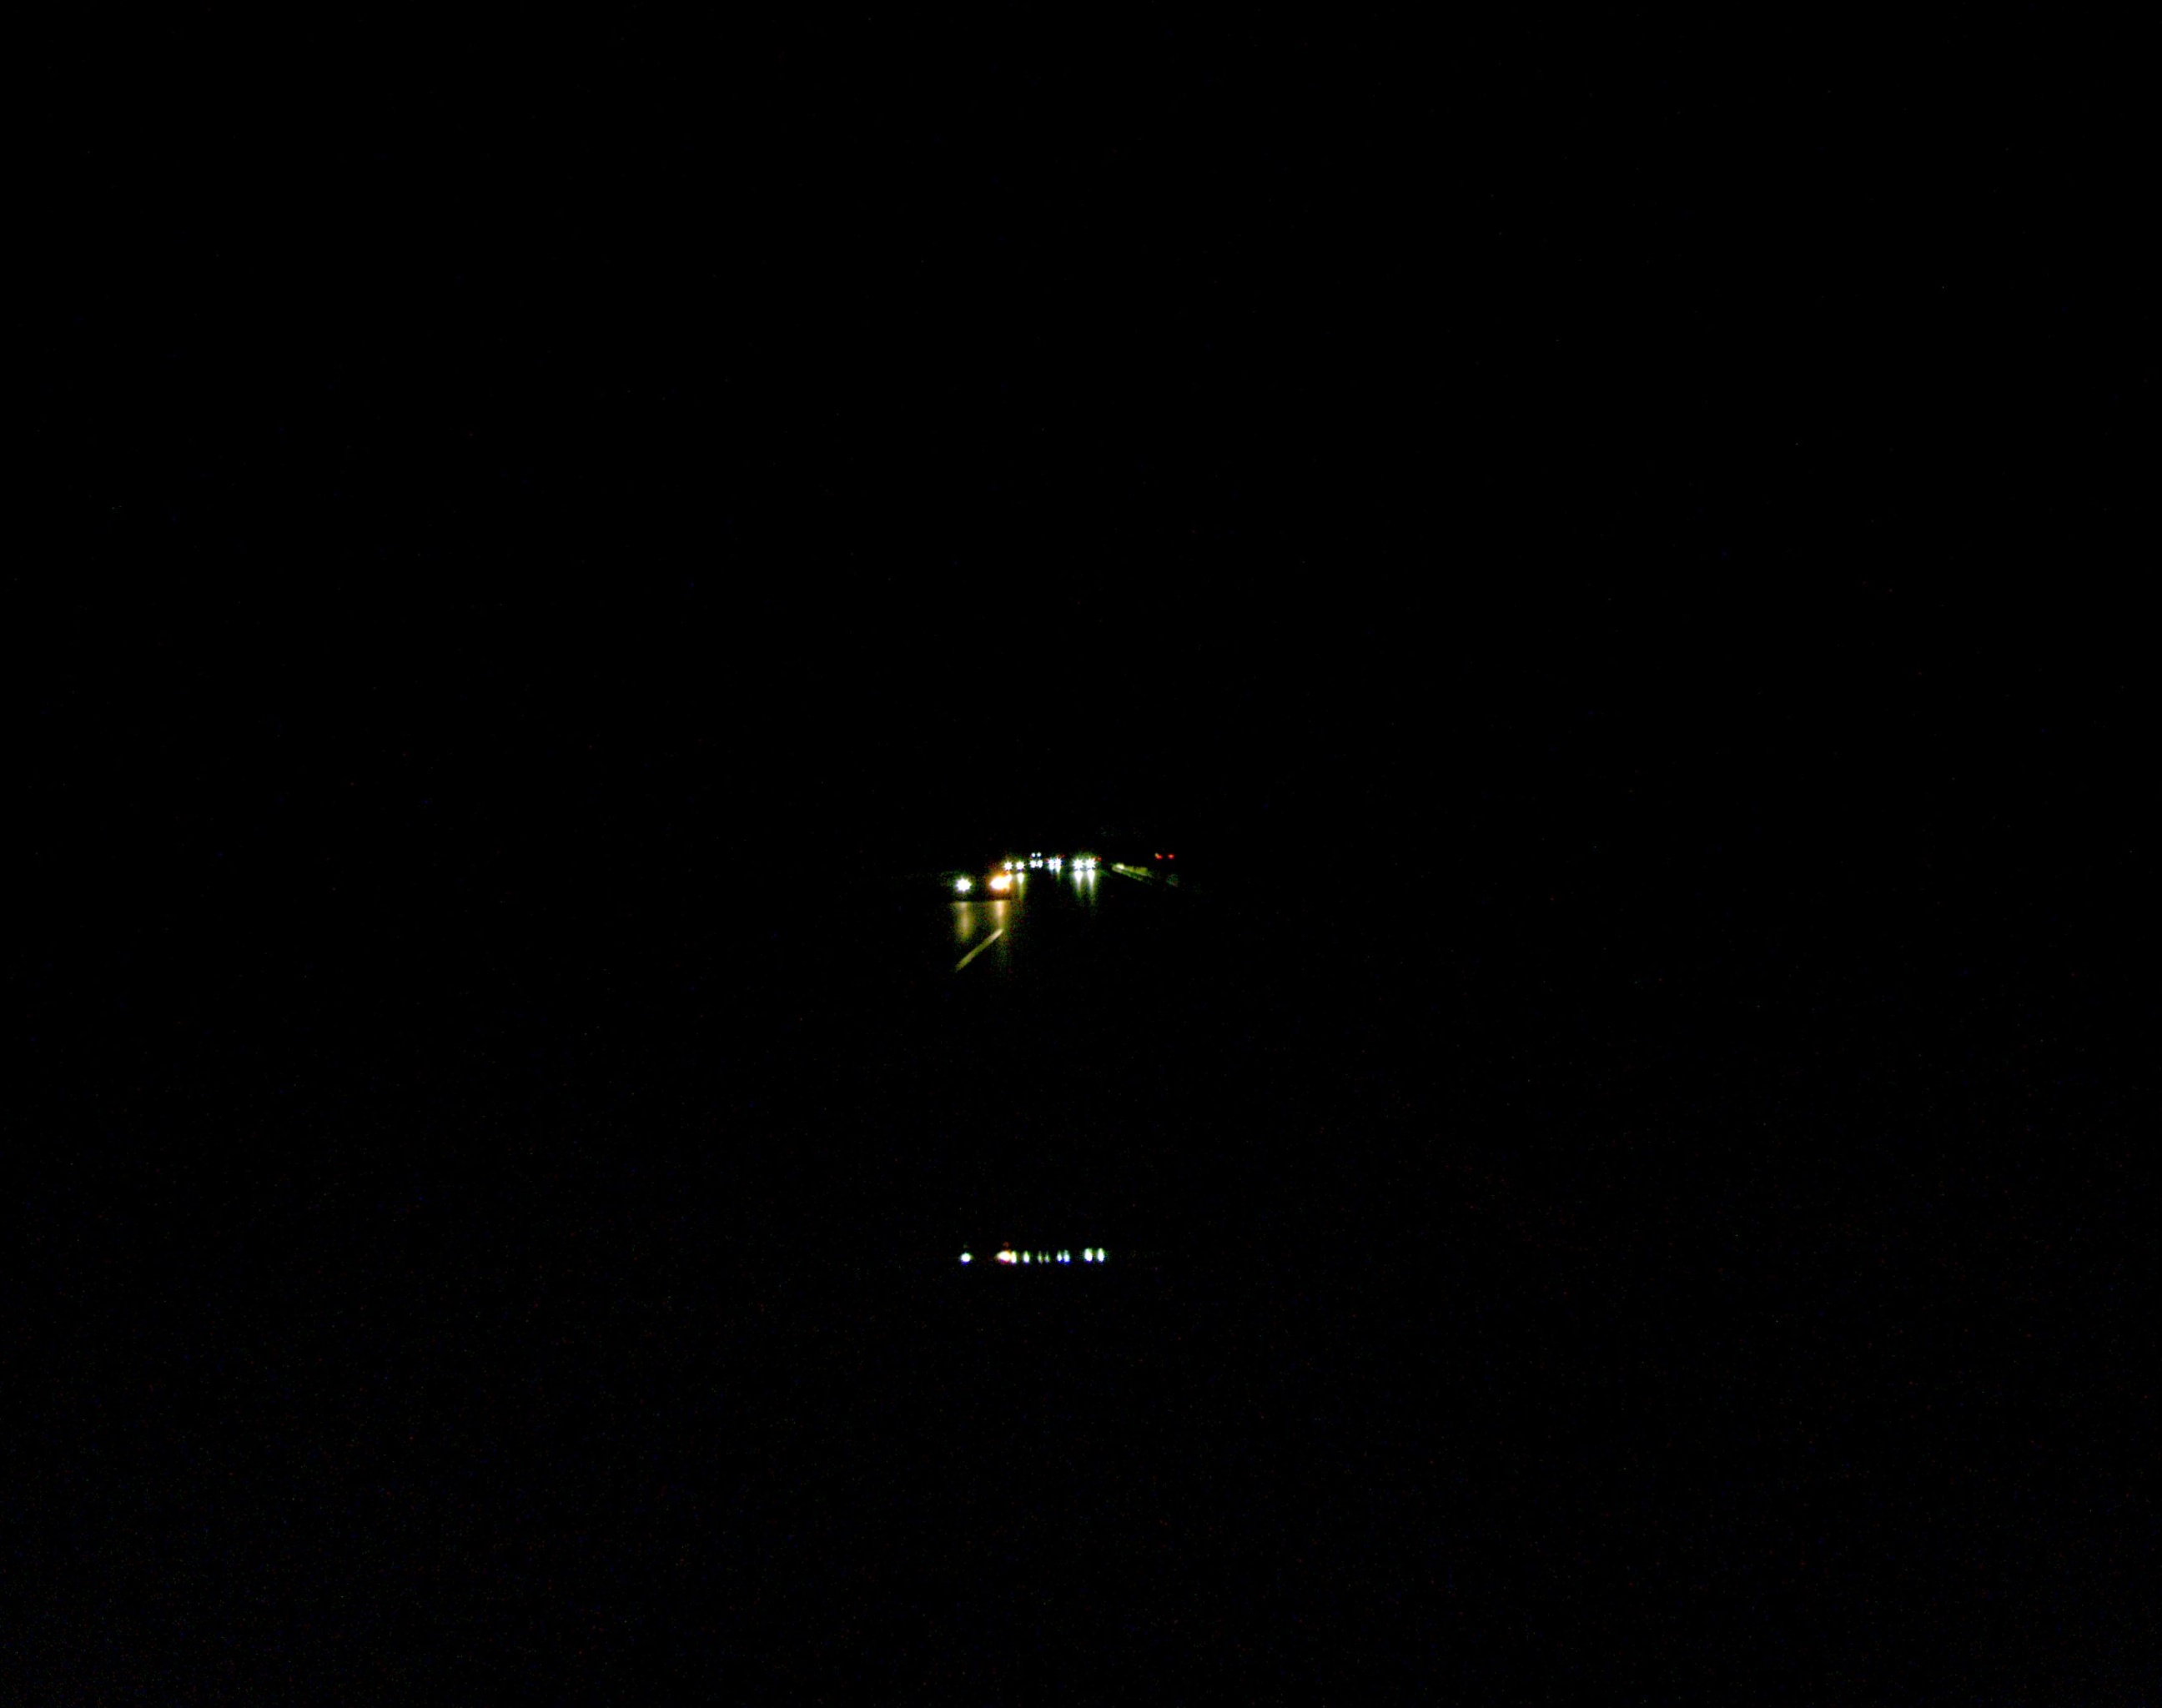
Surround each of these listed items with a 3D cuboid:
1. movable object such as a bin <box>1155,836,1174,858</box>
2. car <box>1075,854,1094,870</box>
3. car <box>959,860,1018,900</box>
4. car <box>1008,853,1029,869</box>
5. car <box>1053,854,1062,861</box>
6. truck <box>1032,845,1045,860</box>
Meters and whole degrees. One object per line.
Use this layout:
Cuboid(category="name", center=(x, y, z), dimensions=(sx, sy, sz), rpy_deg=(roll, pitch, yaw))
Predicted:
Cuboid(category="movable object such as a bin", center=(14.842, -1.211, 135.551), dimensions=(2.299, 3.747, 7.685), rpy_deg=(-2, 0, 0))
Cuboid(category="car", center=(0.401, 0.855, 84.951), dimensions=(2.012, 1.652, 4.000), rpy_deg=(-3, 0, 1))
Cuboid(category="car", center=(-3.721, 1.010, 31.474), dimensions=(1.840, 1.393, 5.069), rpy_deg=(-3, 0, -1))
Cuboid(category="car", center=(-7.237, 0.843, 88.678), dimensions=(1.999, 1.707, 5.167), rpy_deg=(-3, 0, -2))
Cuboid(category="car", center=(-5.442, 0.849, 174.398), dimensions=(1.940, 1.608, 3.999), rpy_deg=(-3, 0, -2))
Cuboid(category="truck", center=(-13.129, -0.323, 234.949), dimensions=(3.348, 4.407, 6.989), rpy_deg=(-4, 0, -7))
